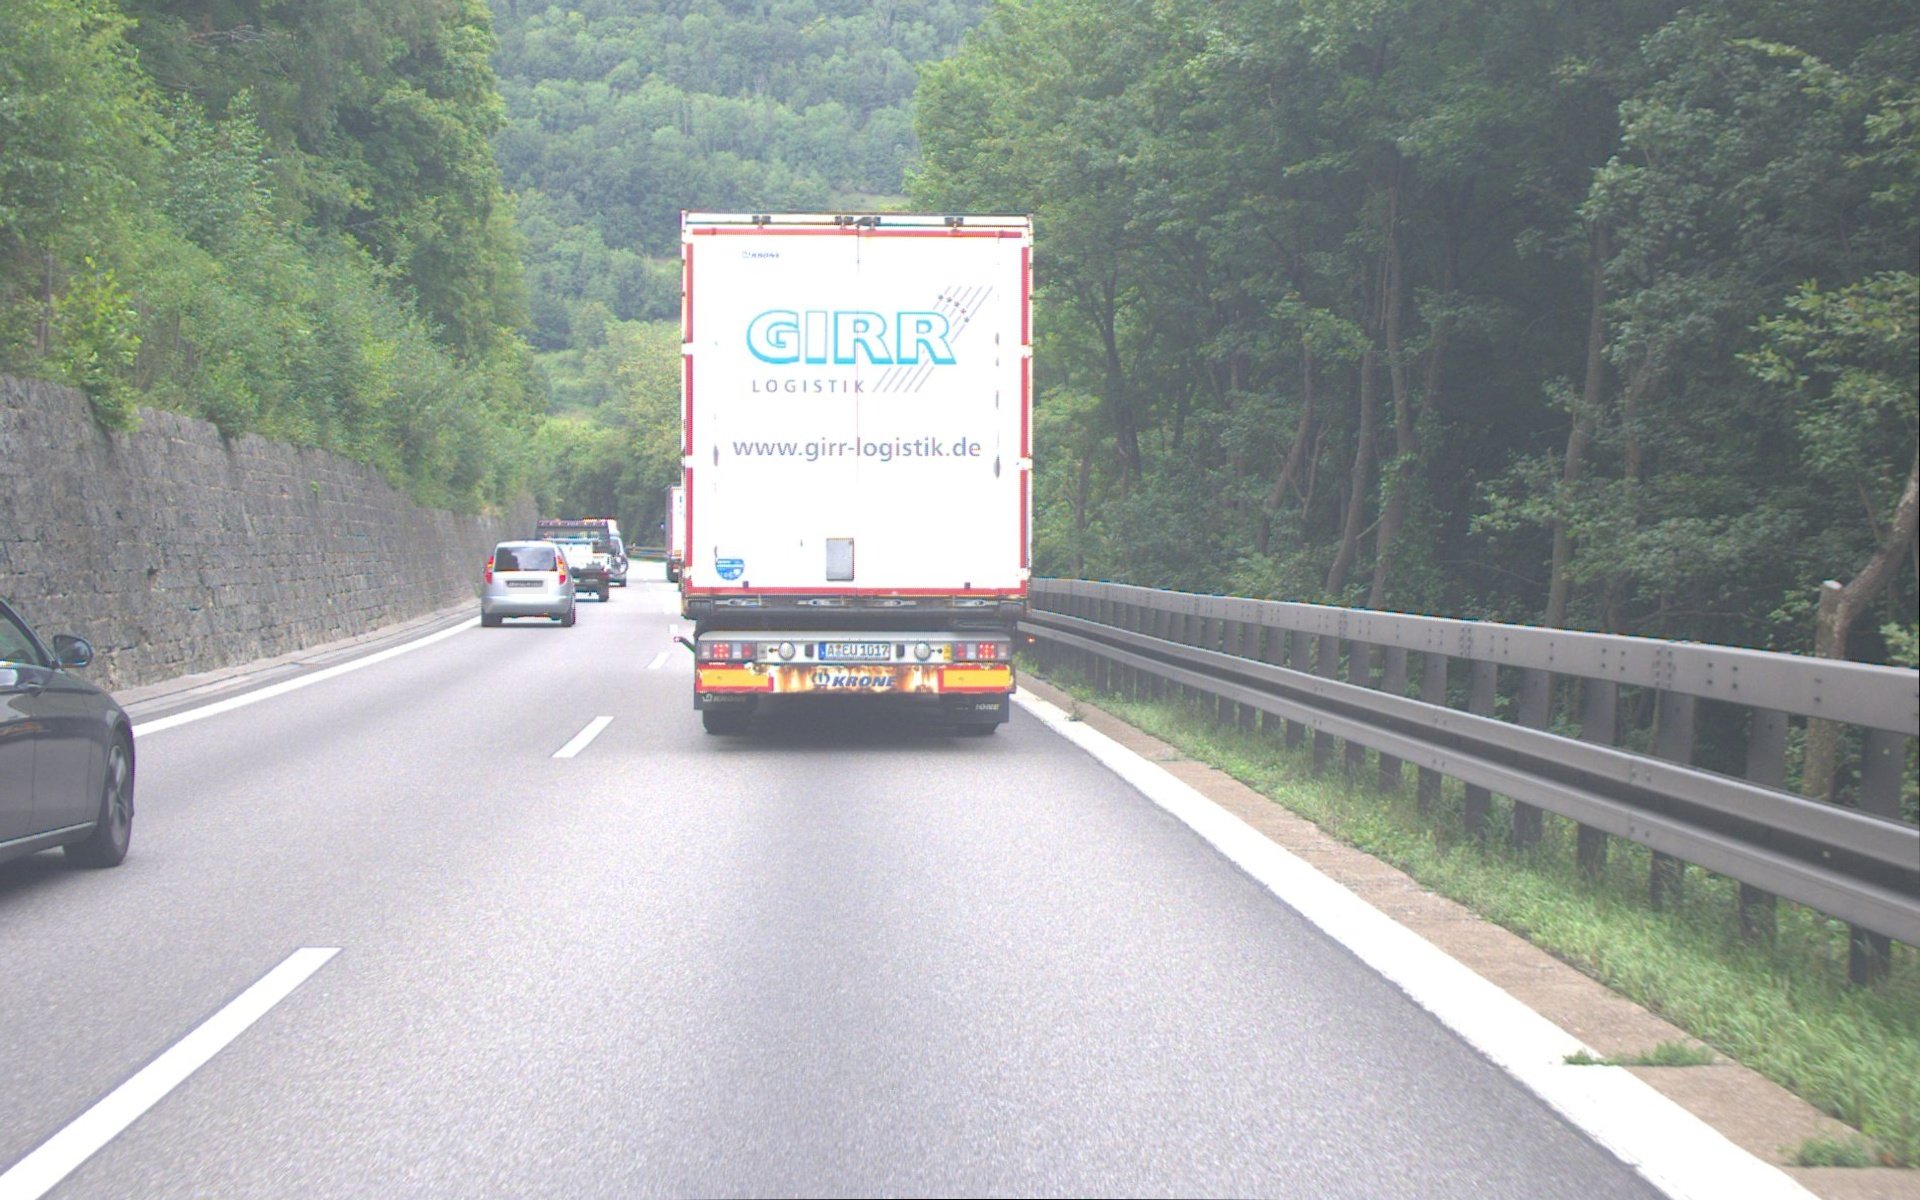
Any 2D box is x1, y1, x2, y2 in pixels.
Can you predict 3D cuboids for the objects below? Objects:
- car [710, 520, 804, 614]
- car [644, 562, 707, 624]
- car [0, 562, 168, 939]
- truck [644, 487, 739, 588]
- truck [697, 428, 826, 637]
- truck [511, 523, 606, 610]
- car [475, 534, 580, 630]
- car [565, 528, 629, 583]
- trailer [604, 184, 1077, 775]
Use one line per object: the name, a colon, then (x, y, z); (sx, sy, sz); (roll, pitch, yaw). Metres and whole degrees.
car: (-4.615, -0.754, 78.521); (1.993, 2.007, 4.334); (2, 0, -3)
car: (-9.656, -0.257, 116.849); (1.993, 2.007, 4.001); (2, 0, -4)
car: (-4.719, 0.596, 14.400); (1.760, 1.458, 5.123); (1, 1, -2)
truck: (-11.038, -2.515, 140.647); (3.068, 3.864, 8.460); (2, 0, -9)
truck: (-3.824, -1.279, 67.406); (2.233, 3.791, 6.823); (2, 0, -2)
truck: (-11.188, -0.951, 96.181); (2.348, 2.266, 6.851); (2, 1, -5)
car: (-8.189, -0.360, 65.295); (1.634, 1.721, 4.345); (1, 1, -3)
car: (-13.374, -1.666, 126.939); (2.018, 1.908, 5.564); (2, 1, -4)
trailer: (-1.175, -0.952, 29.308); (3.132, 4.029, 9.441); (4, 1, -4)
